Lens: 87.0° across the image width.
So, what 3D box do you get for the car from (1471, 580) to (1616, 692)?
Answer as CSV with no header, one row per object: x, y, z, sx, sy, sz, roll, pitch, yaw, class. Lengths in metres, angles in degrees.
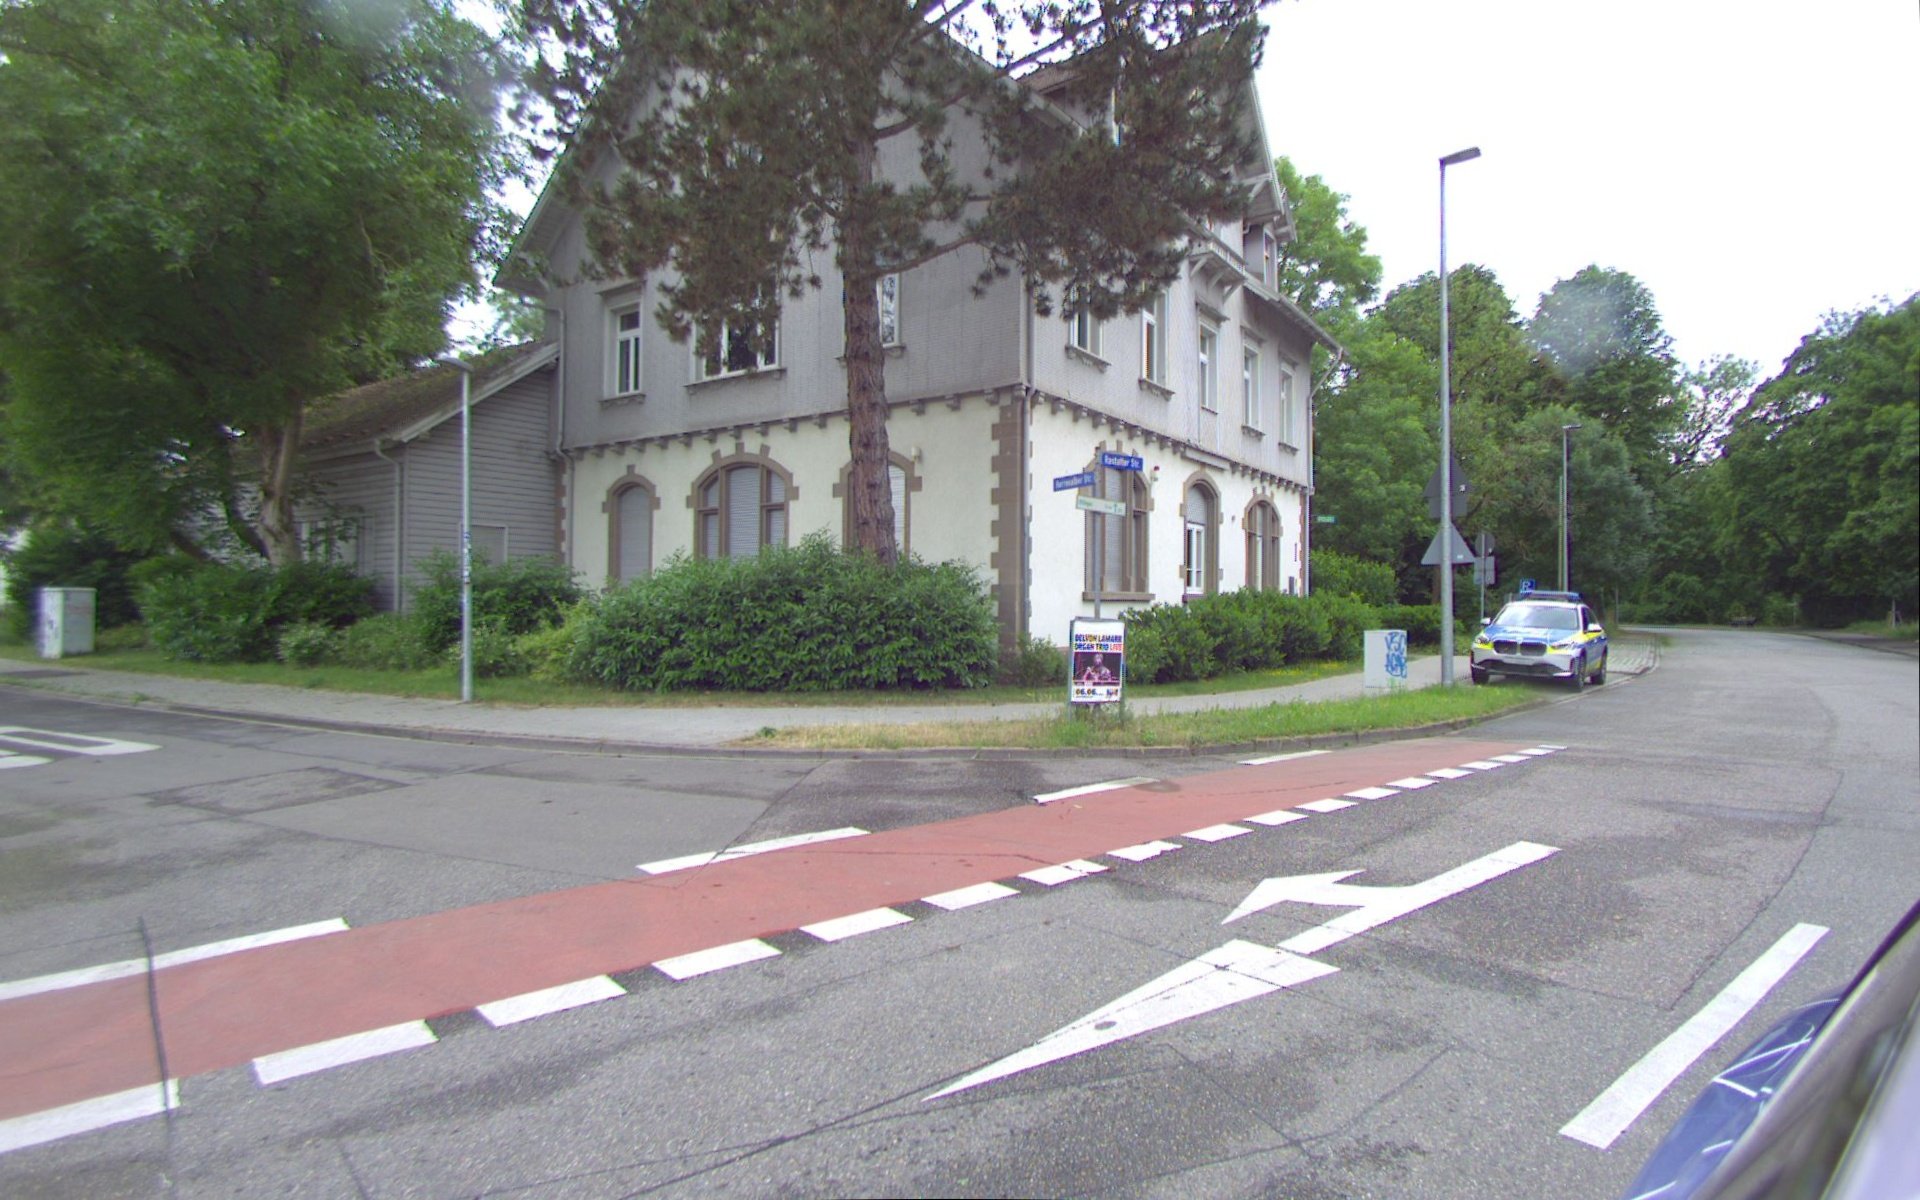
11.306,0.612,19.489,1.926,1.873,3.947,3,1,37,car
